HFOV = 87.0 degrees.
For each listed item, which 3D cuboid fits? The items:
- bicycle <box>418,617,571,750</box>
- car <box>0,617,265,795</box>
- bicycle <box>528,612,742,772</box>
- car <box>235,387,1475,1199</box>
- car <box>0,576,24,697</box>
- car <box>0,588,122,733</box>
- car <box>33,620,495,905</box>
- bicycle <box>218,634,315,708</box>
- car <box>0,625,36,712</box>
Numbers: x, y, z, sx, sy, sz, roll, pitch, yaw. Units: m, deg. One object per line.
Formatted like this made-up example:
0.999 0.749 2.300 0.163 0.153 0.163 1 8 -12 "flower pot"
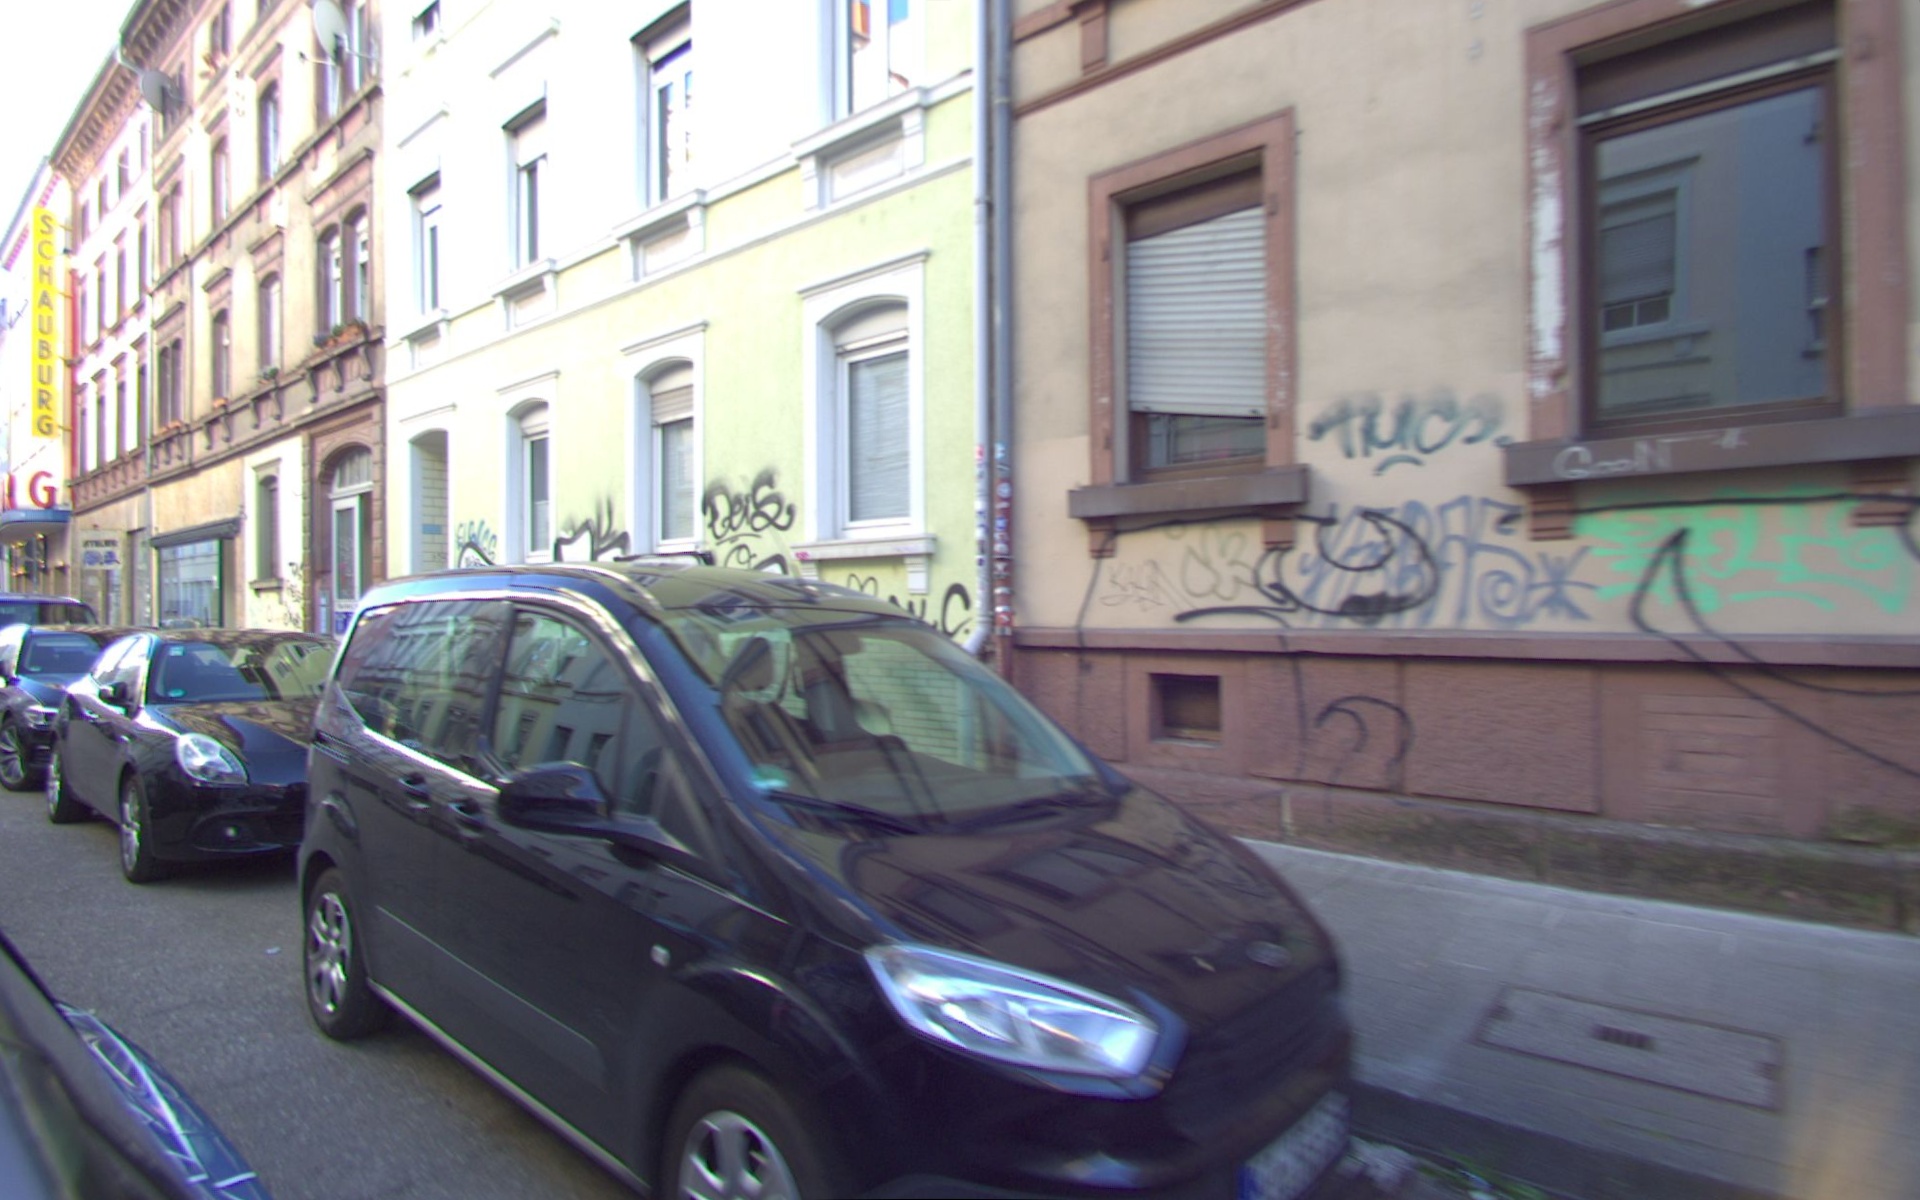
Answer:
-4.969 0.836 10.733 2.085 1.281 0.666 -2 -1 41 "bicycle"
-9.070 0.944 10.476 4.639 1.451 1.844 -2 -2 39 "car"
-2.996 0.772 9.164 2.325 1.255 0.660 -2 2 40 "bicycle"
-0.700 0.633 3.348 3.997 1.711 1.782 -1 -4 40 "car"
-22.391 0.784 22.017 5.915 2.471 2.146 -1 -3 39 "car"
-14.166 0.860 15.057 4.611 1.906 1.808 -2 -4 41 "car"
-5.032 0.876 7.109 3.997 1.438 1.719 -2 -2 41 "car"
-10.915 1.079 15.903 2.028 1.028 0.747 -2 2 42 "bicycle"
-17.979 1.196 18.078 3.835 1.458 1.629 -1 -2 39 "car"
